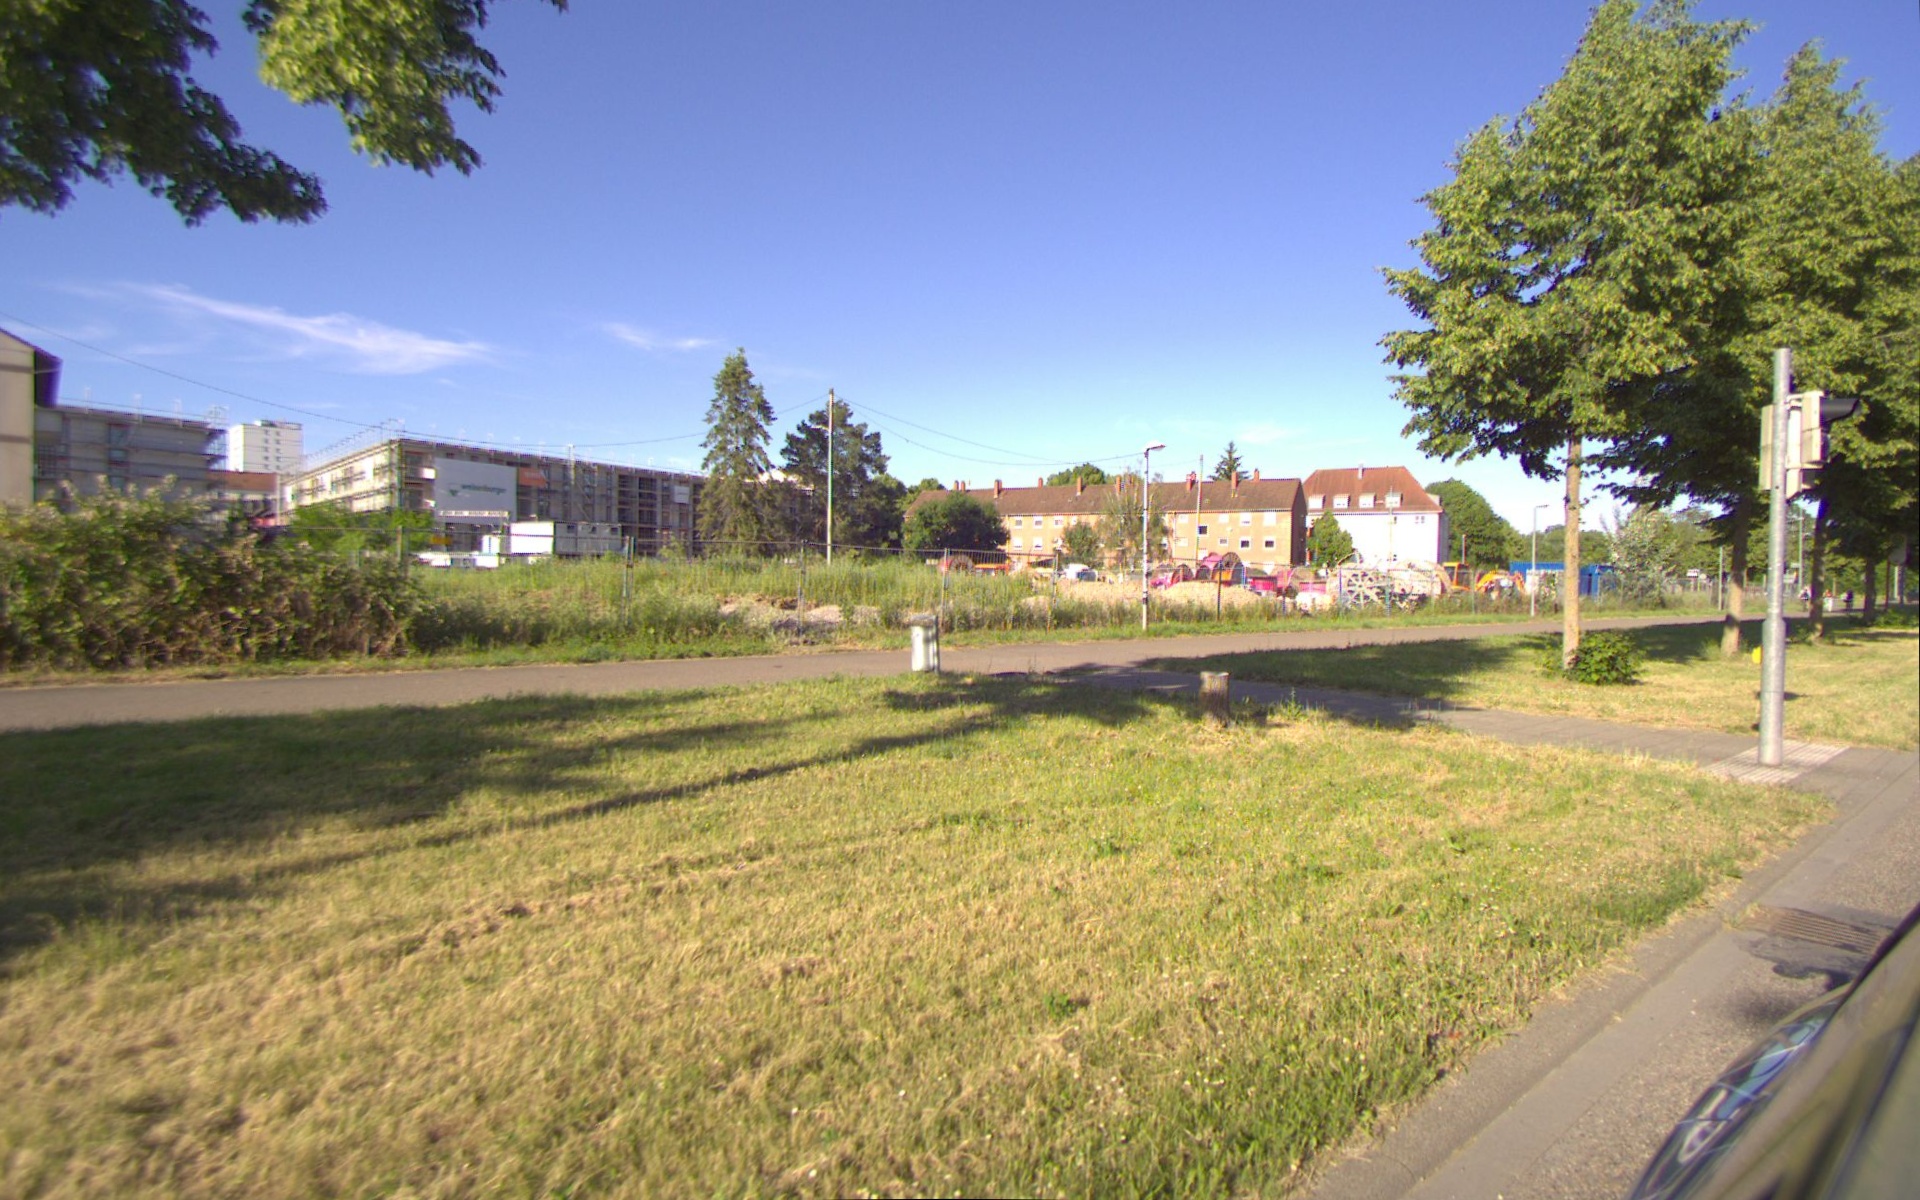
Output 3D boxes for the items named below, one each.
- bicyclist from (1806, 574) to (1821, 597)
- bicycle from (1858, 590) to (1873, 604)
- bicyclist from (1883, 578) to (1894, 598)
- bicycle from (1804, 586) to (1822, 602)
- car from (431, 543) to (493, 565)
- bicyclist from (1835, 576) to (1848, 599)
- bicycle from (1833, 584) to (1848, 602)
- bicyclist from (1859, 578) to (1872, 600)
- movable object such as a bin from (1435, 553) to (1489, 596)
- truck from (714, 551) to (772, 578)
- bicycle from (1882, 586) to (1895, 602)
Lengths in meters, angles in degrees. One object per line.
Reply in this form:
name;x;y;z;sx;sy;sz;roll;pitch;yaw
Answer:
bicyclist;58.212;-1.013;69.017;0.781;1.572;0.654;-1;2;-40
bicycle;67.961;-0.224;75.989;1.867;0.972;0.592;-3;3;-40
bicyclist;68.738;-0.889;74.921;0.899;1.504;0.471;-2;2;-40
bicycle;58.193;-0.409;69.047;1.788;1.025;0.657;0;2;-40
car;-38.756;-3.587;78.818;1.819;1.638;3.954;1;3;33
bicyclist;59.099;-0.843;67.854;0.819;1.491;0.504;-1;2;-42
bicycle;59.097;-0.459;67.891;1.577;1.166;0.507;0;3;-41
bicyclist;67.965;-0.808;75.985;0.949;1.606;0.592;-2;2;-40
movable object such as a bin;24.367;-1.240;49.167;1.758;2.038;1.799;-2;2;-39
truck;-17.573;-2.867;82.036;1.990;2.038;4.371;2;2;39
bicycle;68.760;-0.454;74.945;1.615;1.095;0.479;-2;2;-40
